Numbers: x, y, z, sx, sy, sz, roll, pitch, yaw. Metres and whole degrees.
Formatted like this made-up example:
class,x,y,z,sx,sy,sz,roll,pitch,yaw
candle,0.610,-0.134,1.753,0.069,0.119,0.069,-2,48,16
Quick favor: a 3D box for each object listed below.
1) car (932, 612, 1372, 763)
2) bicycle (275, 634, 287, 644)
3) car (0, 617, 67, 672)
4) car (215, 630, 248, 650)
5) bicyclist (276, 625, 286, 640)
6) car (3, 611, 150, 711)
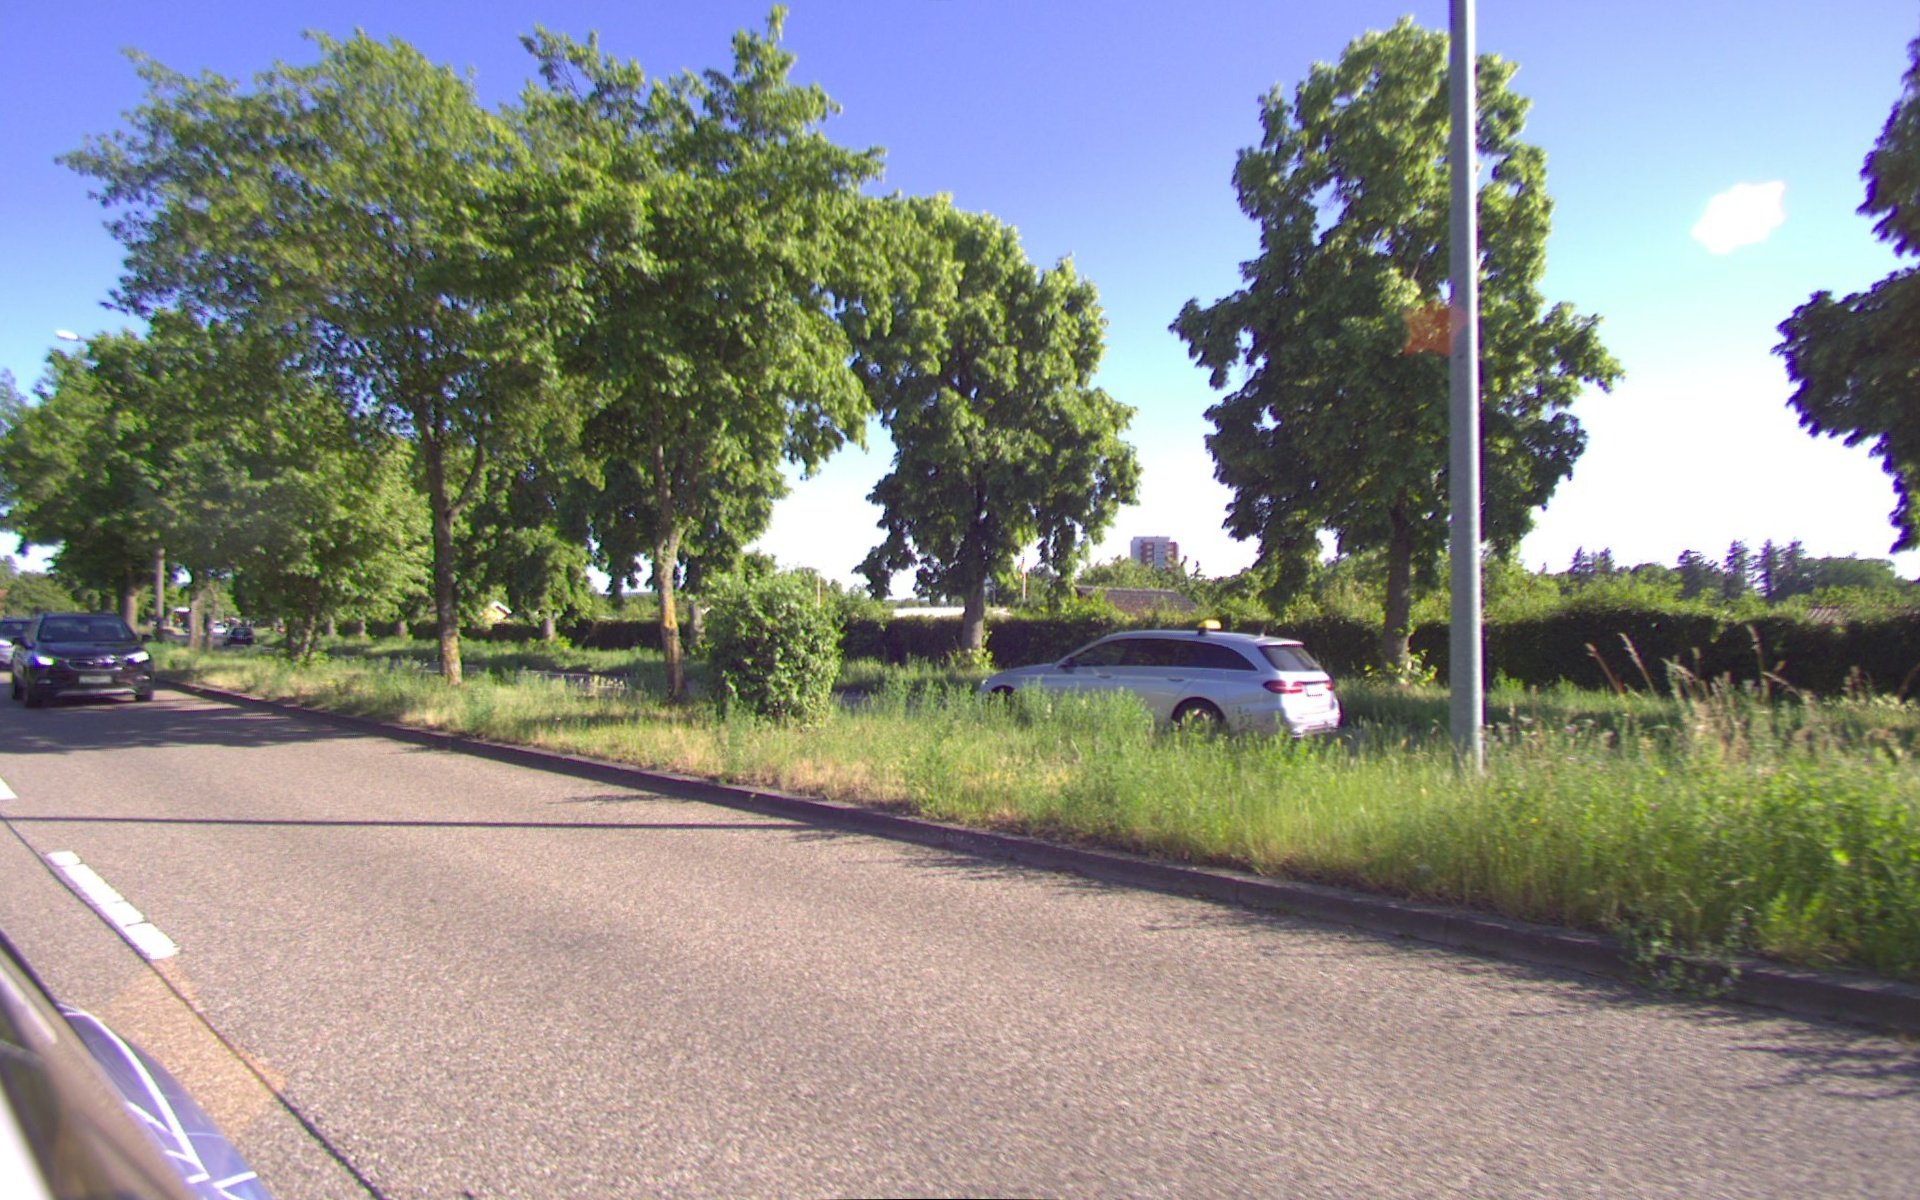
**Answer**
class,x,y,z,sx,sy,sz,roll,pitch,yaw
car,2.299,1.031,13.381,5.572,1.618,1.837,-1,-4,41
bicycle,-65.992,3.786,98.364,0.681,1.004,1.844,1,-2,-40
car,-28.801,1.340,31.081,1.798,1.574,4.649,1,-2,-45
car,-54.900,3.010,76.222,1.671,1.447,4.949,4,-4,-39
bicyclist,-65.984,3.142,98.370,0.681,1.432,1.002,1,-2,-41
car,-16.480,1.029,18.795,1.785,1.627,4.518,2,-2,-44
